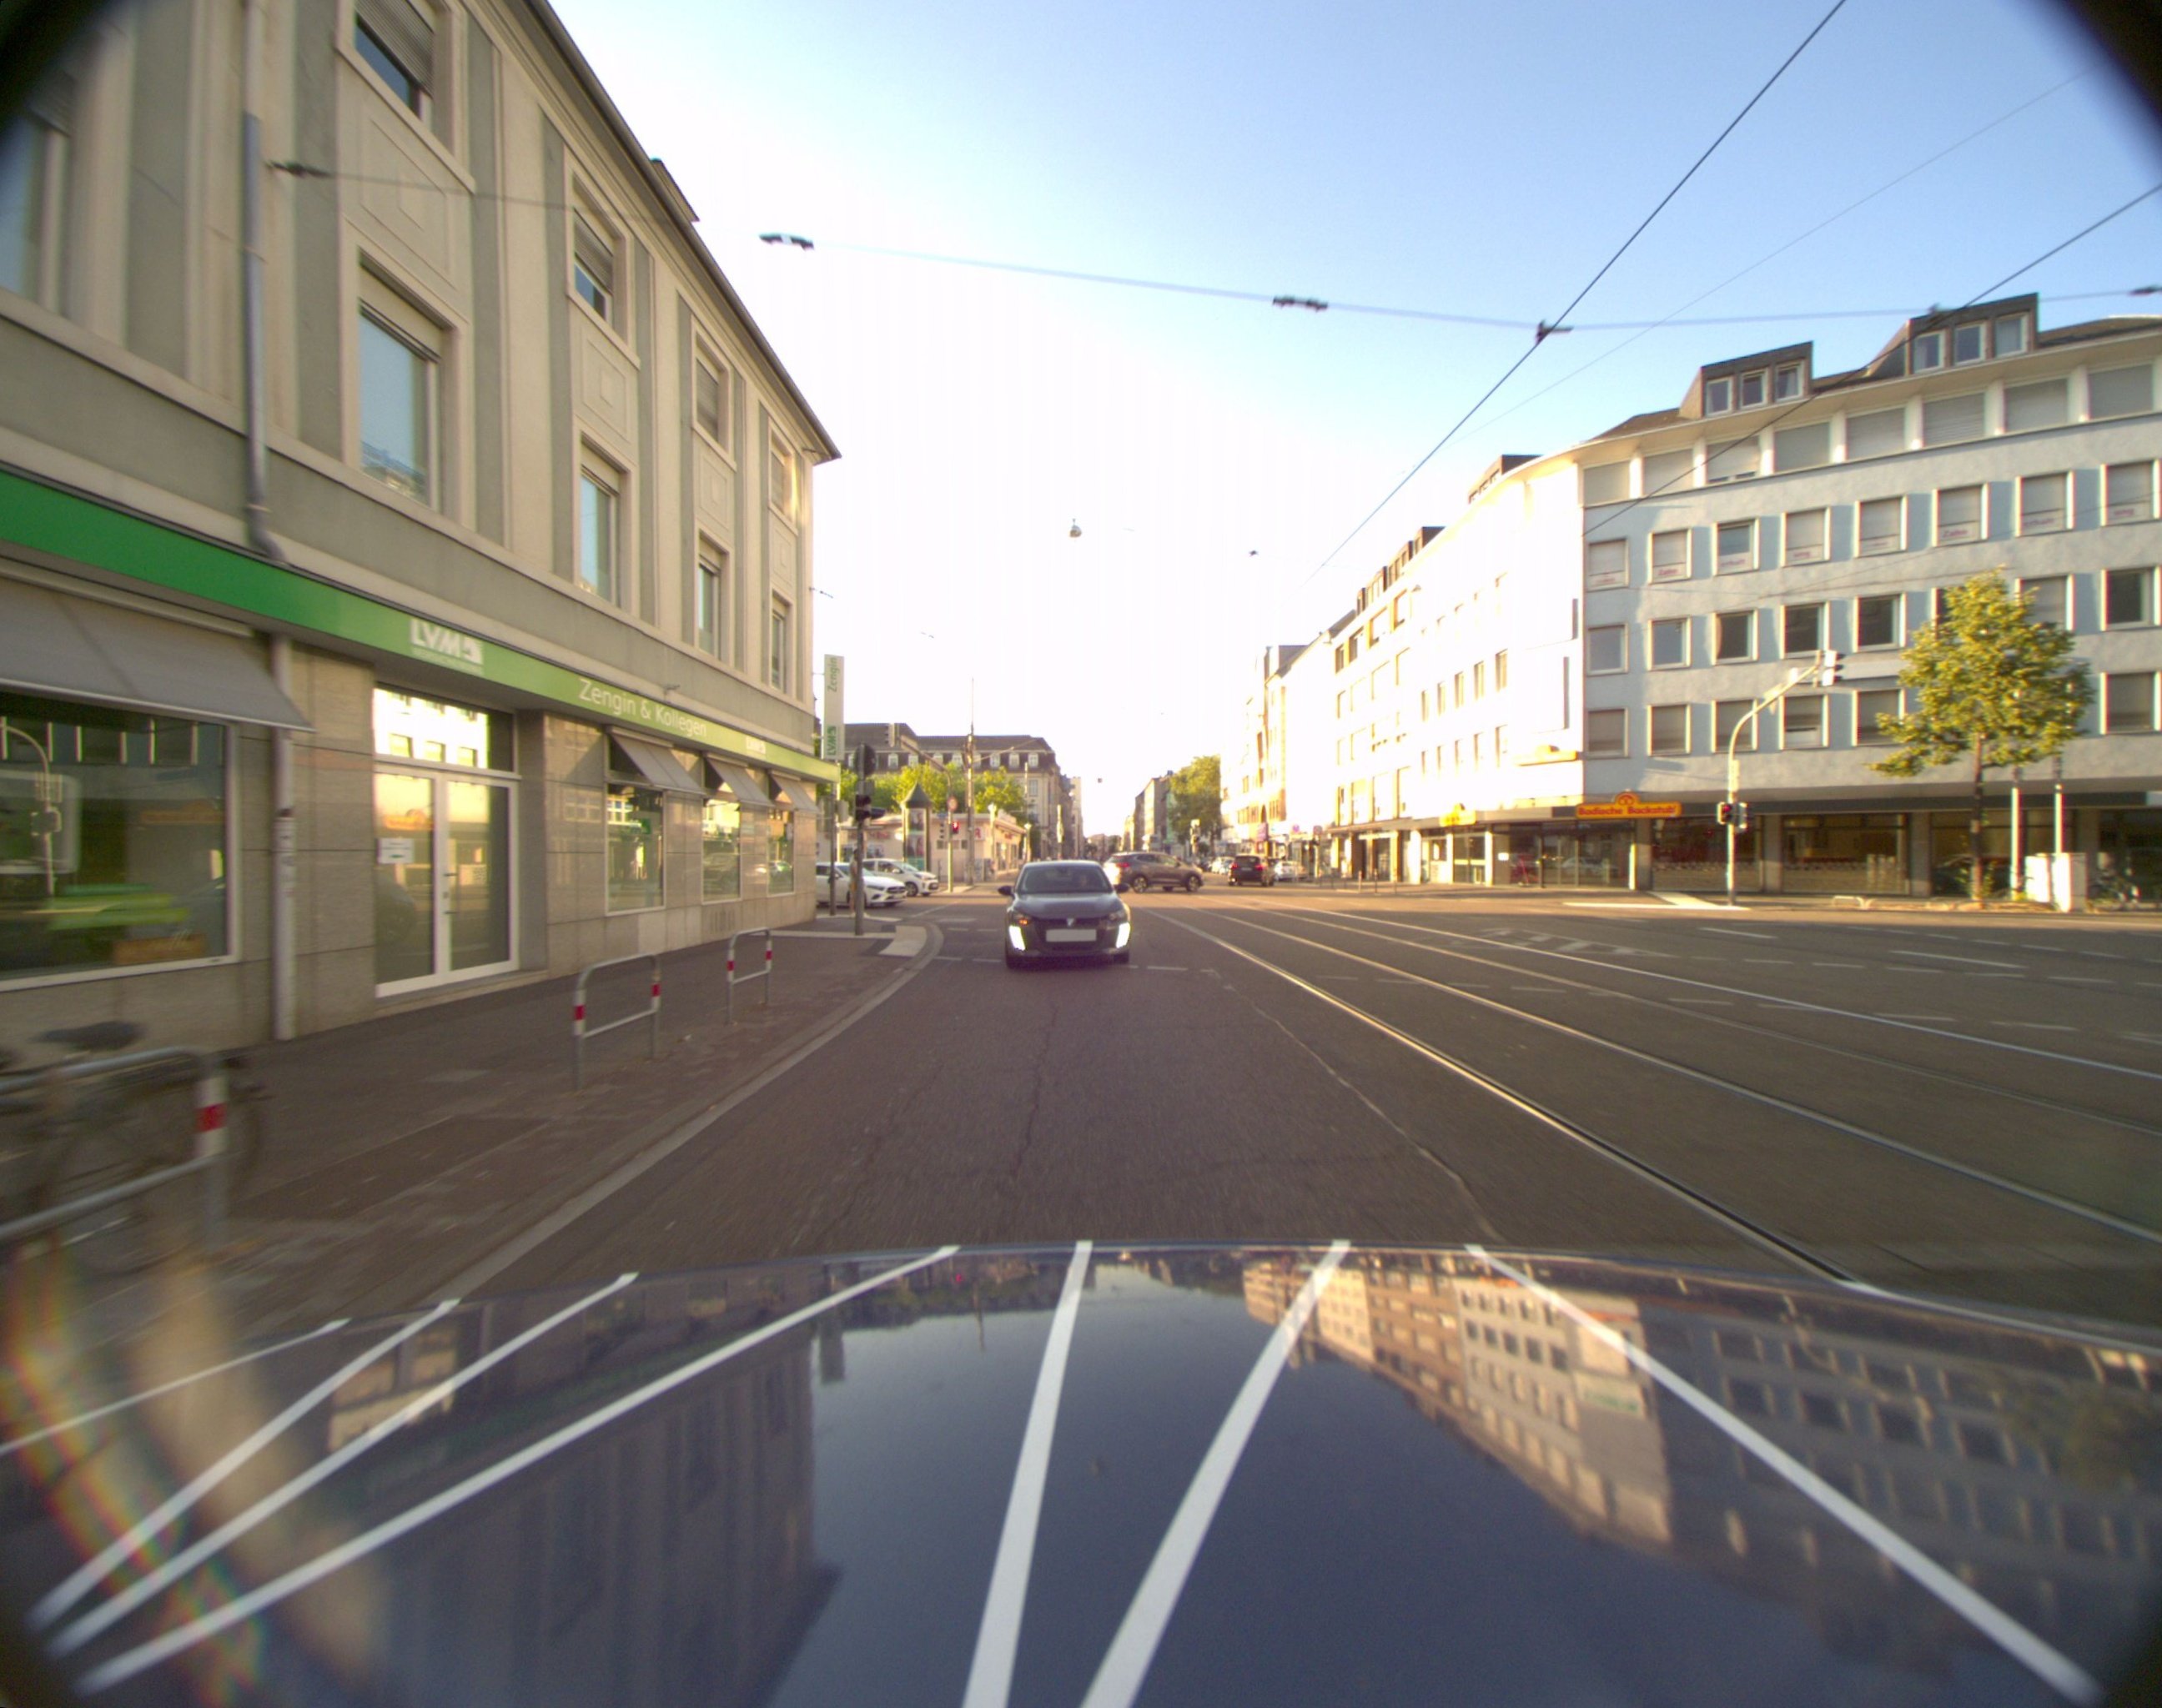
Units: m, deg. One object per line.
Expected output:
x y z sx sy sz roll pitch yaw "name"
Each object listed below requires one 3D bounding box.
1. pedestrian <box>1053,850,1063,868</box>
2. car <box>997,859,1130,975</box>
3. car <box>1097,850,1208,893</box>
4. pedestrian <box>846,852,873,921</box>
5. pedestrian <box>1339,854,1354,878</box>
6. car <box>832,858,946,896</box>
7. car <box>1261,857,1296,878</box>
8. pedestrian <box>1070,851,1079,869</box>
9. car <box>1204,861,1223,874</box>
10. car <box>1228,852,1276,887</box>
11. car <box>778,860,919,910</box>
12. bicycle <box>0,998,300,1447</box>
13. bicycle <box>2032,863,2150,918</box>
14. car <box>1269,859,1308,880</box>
-2.741 0.598 90.062 0.716 2.003 0.838 -4 5 -40 "pedestrian"
-0.163 0.867 12.260 1.750 1.434 3.906 -2 1 2 "car"
2.963 0.693 31.498 4.265 1.688 1.825 0 0 -26 "car"
-5.689 0.827 19.509 0.654 1.732 0.693 0 0 -16 "pedestrian"
16.742 0.744 47.884 0.544 1.463 0.624 -4 0 -15 "pedestrian"
-7.562 0.887 30.057 3.978 1.463 1.721 0 0 10 "car"
14.014 0.934 53.991 1.636 1.345 3.389 -3 -1 1 "car"
-0.744 0.735 88.108 0.716 2.003 0.839 -3 4 -29 "pedestrian"
14.038 1.443 80.442 1.459 1.284 3.147 -3 -1 1 "car"
8.946 0.744 39.427 1.802 1.688 4.576 0 0 21 "car"
-7.420 0.945 24.305 3.976 1.463 1.831 0 1 18 "car"
-3.402 1.150 2.303 0.535 1.140 1.490 0 0 -1 "bicycle"
26.317 0.904 19.864 0.638 1.246 2.377 0 2 20 "bicycle"
13.423 0.974 49.262 1.636 1.246 3.389 -3 -1 1 "car"
